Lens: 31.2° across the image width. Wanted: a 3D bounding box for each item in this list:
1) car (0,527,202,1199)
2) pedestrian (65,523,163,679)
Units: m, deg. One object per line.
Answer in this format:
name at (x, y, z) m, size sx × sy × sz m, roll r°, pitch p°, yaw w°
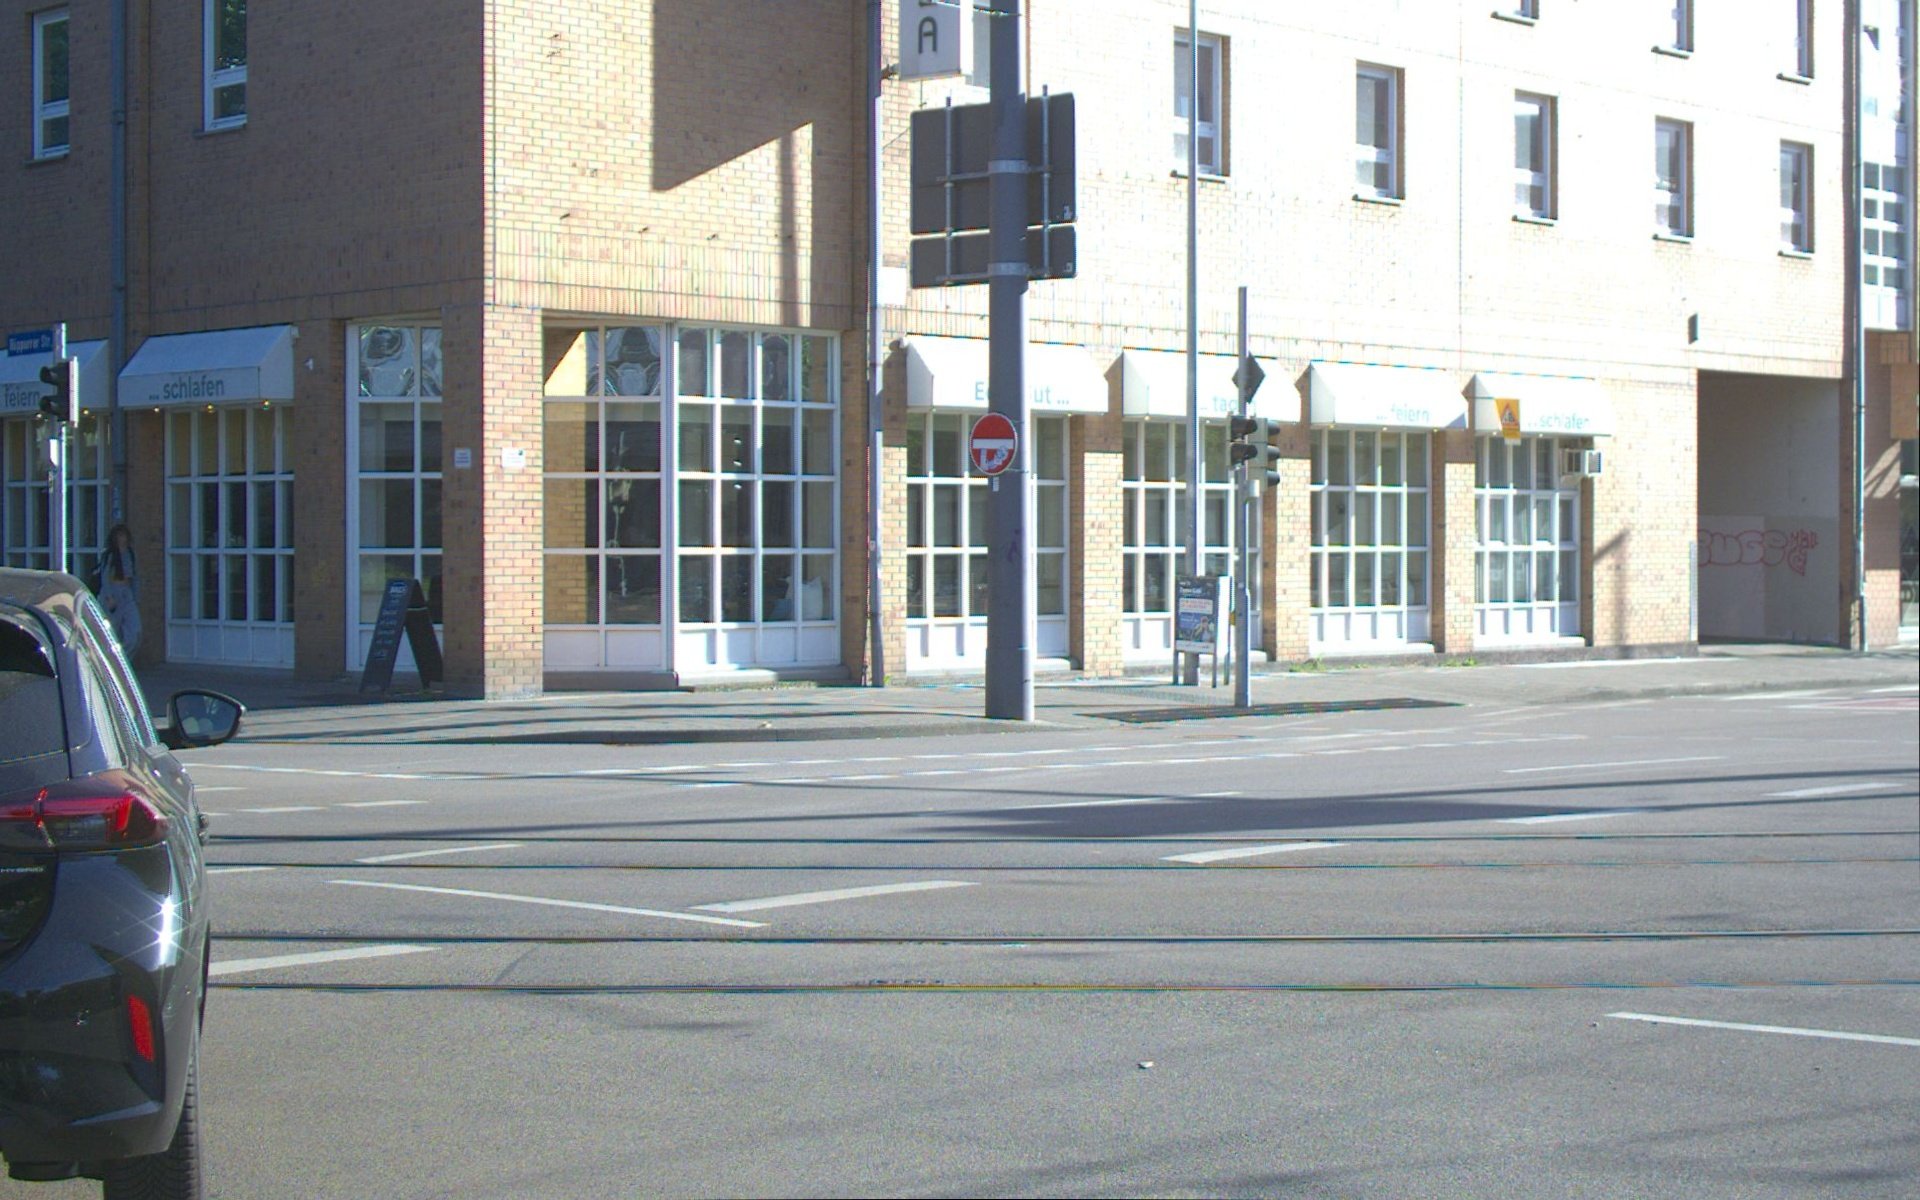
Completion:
car at (-2.682, 0.697, 8.218) m, size 1.671 × 1.497 × 3.691 m, roll -1°, pitch -2°, yaw -12°
pedestrian at (-9.163, 0.005, 37.235) m, size 0.739 × 1.660 × 0.753 m, roll -2°, pitch 2°, yaw -43°
